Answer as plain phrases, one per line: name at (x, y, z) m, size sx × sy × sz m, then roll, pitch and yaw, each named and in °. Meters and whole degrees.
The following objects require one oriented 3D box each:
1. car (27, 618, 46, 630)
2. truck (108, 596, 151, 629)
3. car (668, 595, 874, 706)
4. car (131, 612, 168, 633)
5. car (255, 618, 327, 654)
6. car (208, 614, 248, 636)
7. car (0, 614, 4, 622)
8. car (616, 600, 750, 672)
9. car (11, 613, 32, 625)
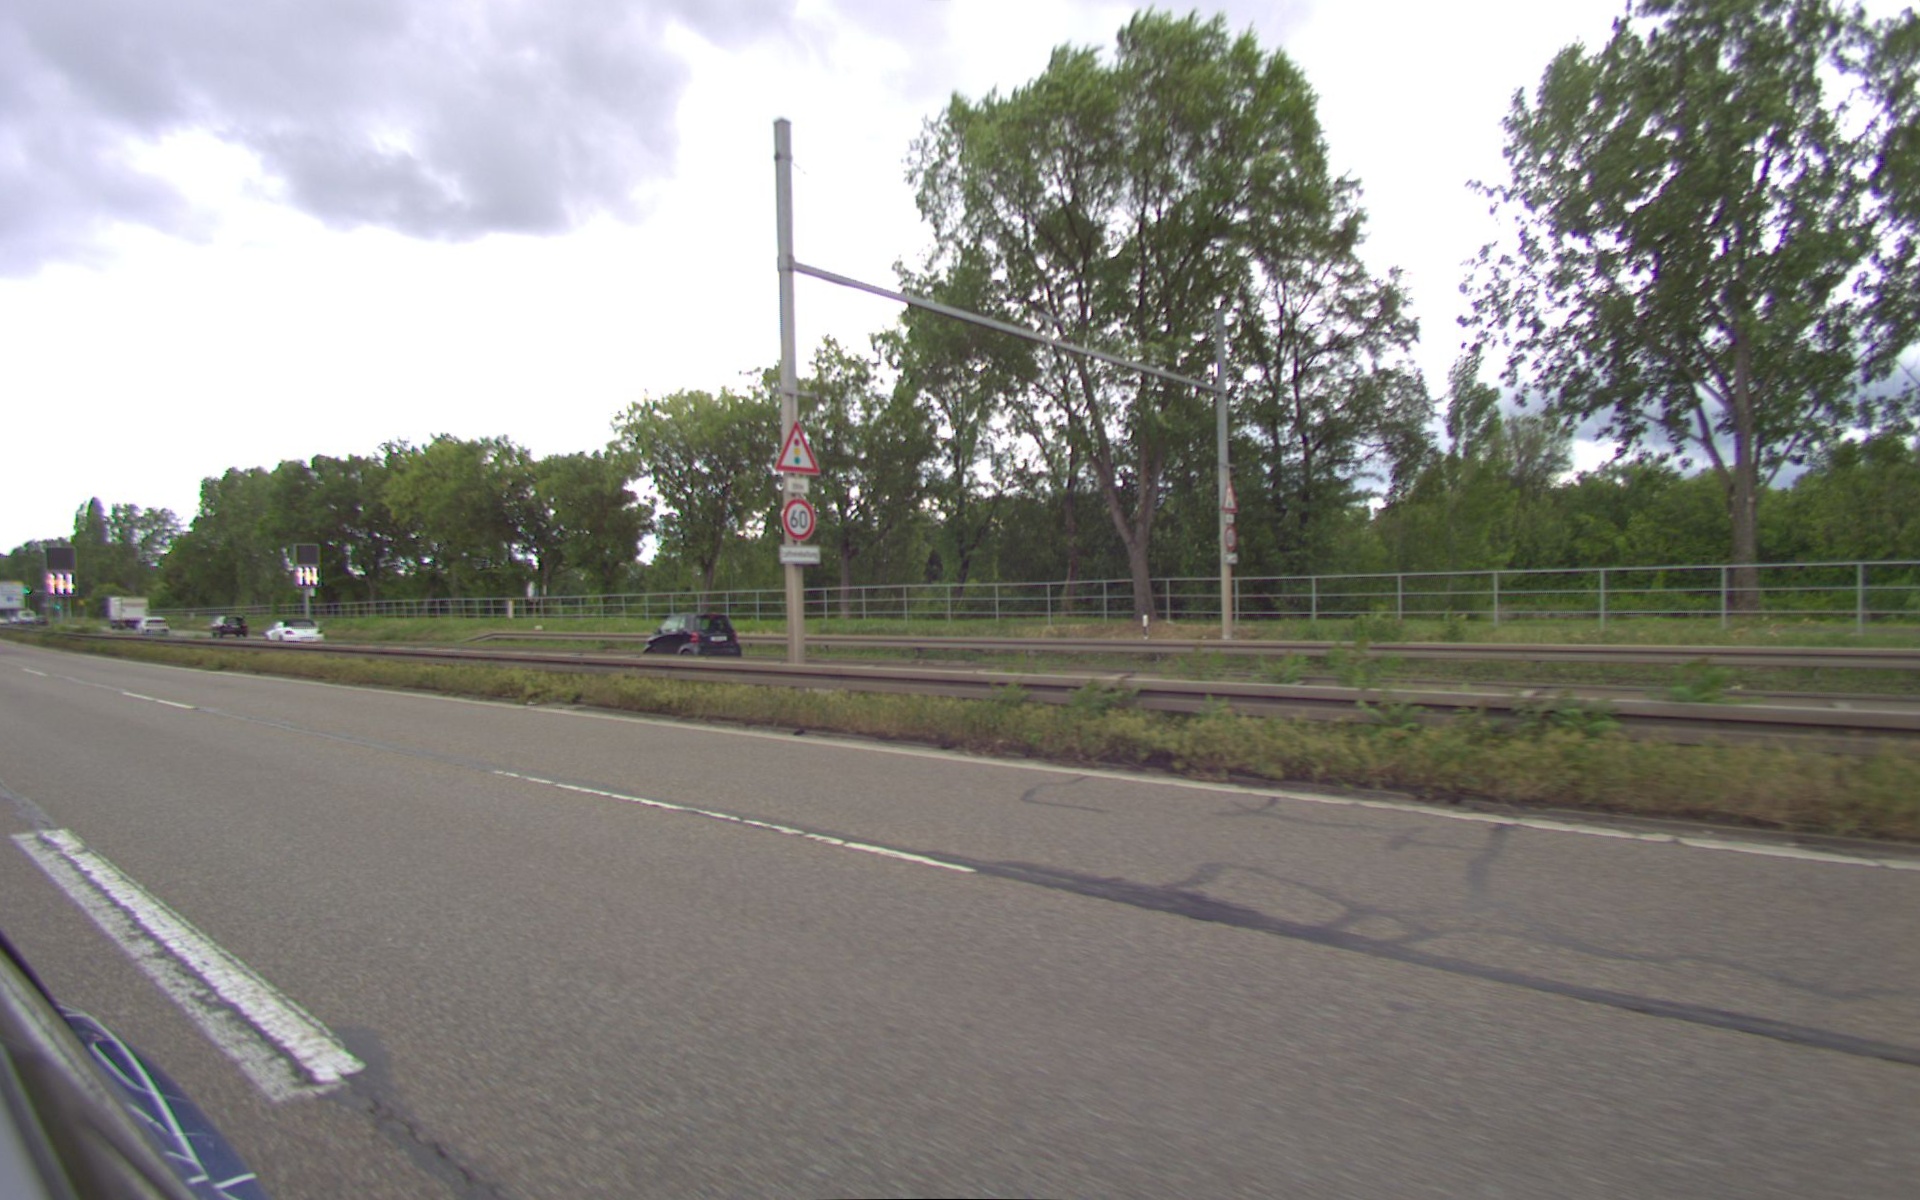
car at (-135.581, 3.548, 148.569) m, size 4.148 × 1.738 × 1.857 m, roll -2°, pitch 0°, yaw 45°
truck at (-95.909, 1.449, 116.770) m, size 9.591 × 3.606 × 2.856 m, roll -1°, pitch 0°, yaw 45°
car at (-3.460, 0.841, 18.187) m, size 3.741 × 1.788 × 1.708 m, roll -1°, pitch -1°, yaw 42°
car at (-67.047, 1.874, 83.694) m, size 4.537 × 1.617 × 1.679 m, roll -2°, pitch -2°, yaw 42°
car at (-33.480, 1.764, 50.608) m, size 4.716 × 1.687 × 1.847 m, roll -2°, pitch -1°, yaw 41°
car at (-56.217, 1.924, 77.657) m, size 4.041 × 1.617 × 1.707 m, roll -2°, pitch -2°, yaw 42°
car at (-173.680, 3.244, 182.378) m, size 3.988 × 1.409 × 1.641 m, roll -3°, pitch -3°, yaw 43°
car at (-7.466, 0.927, 27.129) m, size 3.741 × 1.788 × 1.708 m, roll -1°, pitch -1°, yaw 42°
car at (-151.927, 3.073, 163.797) m, size 5.476 × 1.962 × 2.201 m, roll -1°, pitch 0°, yaw 45°
